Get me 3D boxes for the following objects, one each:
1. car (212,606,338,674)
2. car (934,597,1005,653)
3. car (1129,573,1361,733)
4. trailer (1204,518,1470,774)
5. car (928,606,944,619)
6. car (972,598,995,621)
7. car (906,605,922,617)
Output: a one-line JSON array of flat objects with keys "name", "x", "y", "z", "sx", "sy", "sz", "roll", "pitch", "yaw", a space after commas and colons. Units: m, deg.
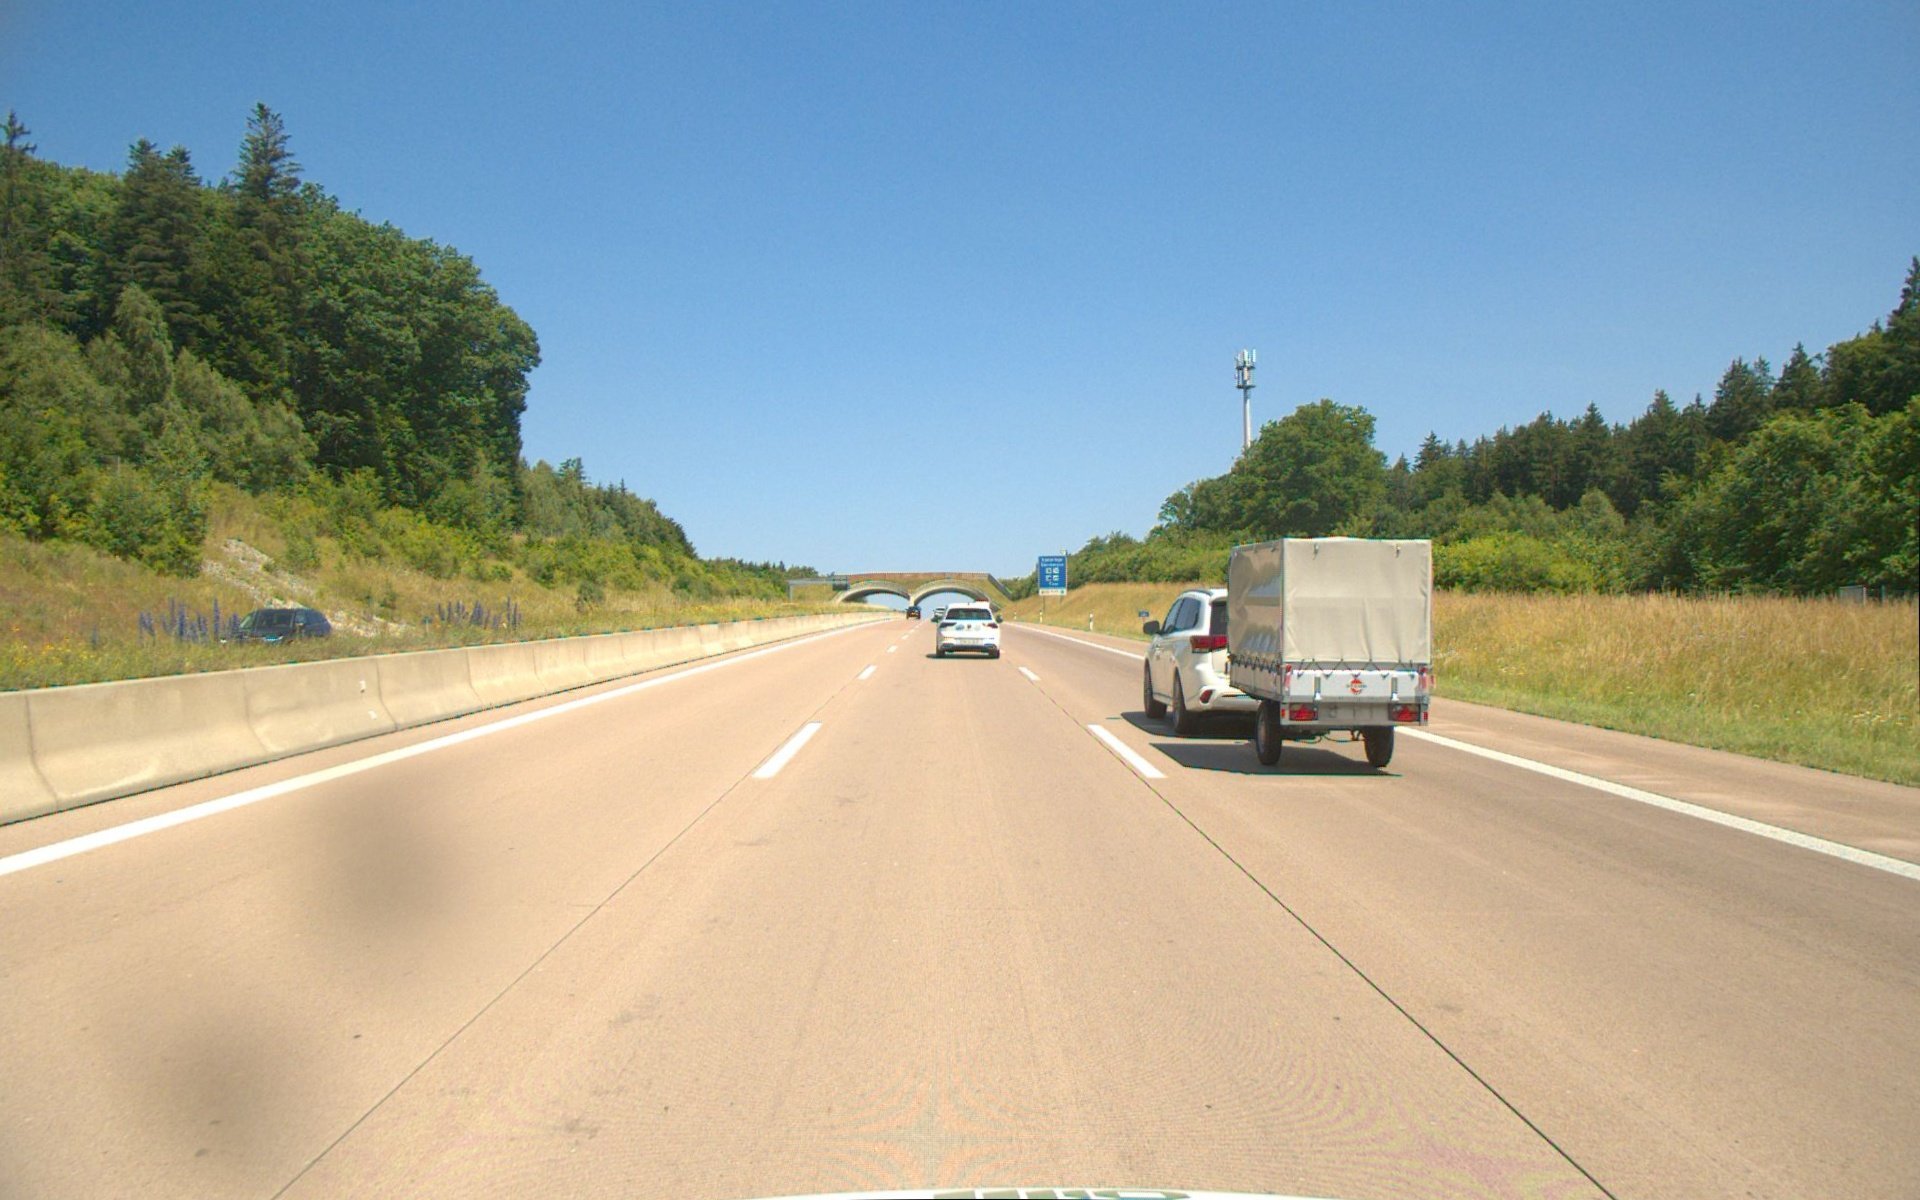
[{"name": "car", "x": -19.059, "y": 1.082, "z": 46.221, "sx": 1.853, "sy": 1.769, "sz": 4.461, "roll": 0, "pitch": 0, "yaw": -3}, {"name": "car", "x": 0.296, "y": 0.659, "z": 45.519, "sx": 1.852, "sy": 1.422, "sz": 4.001, "roll": 1, "pitch": 0, "yaw": 1}, {"name": "car", "x": 3.402, "y": 0.582, "z": 20.786, "sx": 1.853, "sy": 1.758, "sz": 5.184, "roll": 0, "pitch": 0, "yaw": -2}, {"name": "trailer", "x": 3.544, "y": 0.399, "z": 16.258, "sx": 1.624, "sy": 2.202, "sz": 4.015, "roll": 0, "pitch": 0, "yaw": -1}, {"name": "car", "x": -2.886, "y": 1.517, "z": 200.043, "sx": 1.852, "sy": 1.489, "sz": 4.000, "roll": 1, "pitch": 0, "yaw": 0}, {"name": "car", "x": 2.229, "y": 0.868, "z": 155.289, "sx": 2.067, "sy": 2.090, "sz": 4.001, "roll": 0, "pitch": 0, "yaw": 1}, {"name": "car", "x": -6.133, "y": 1.458, "z": 220.129, "sx": 1.852, "sy": 1.489, "sz": 4.001, "roll": 0, "pitch": 0, "yaw": 1}]
